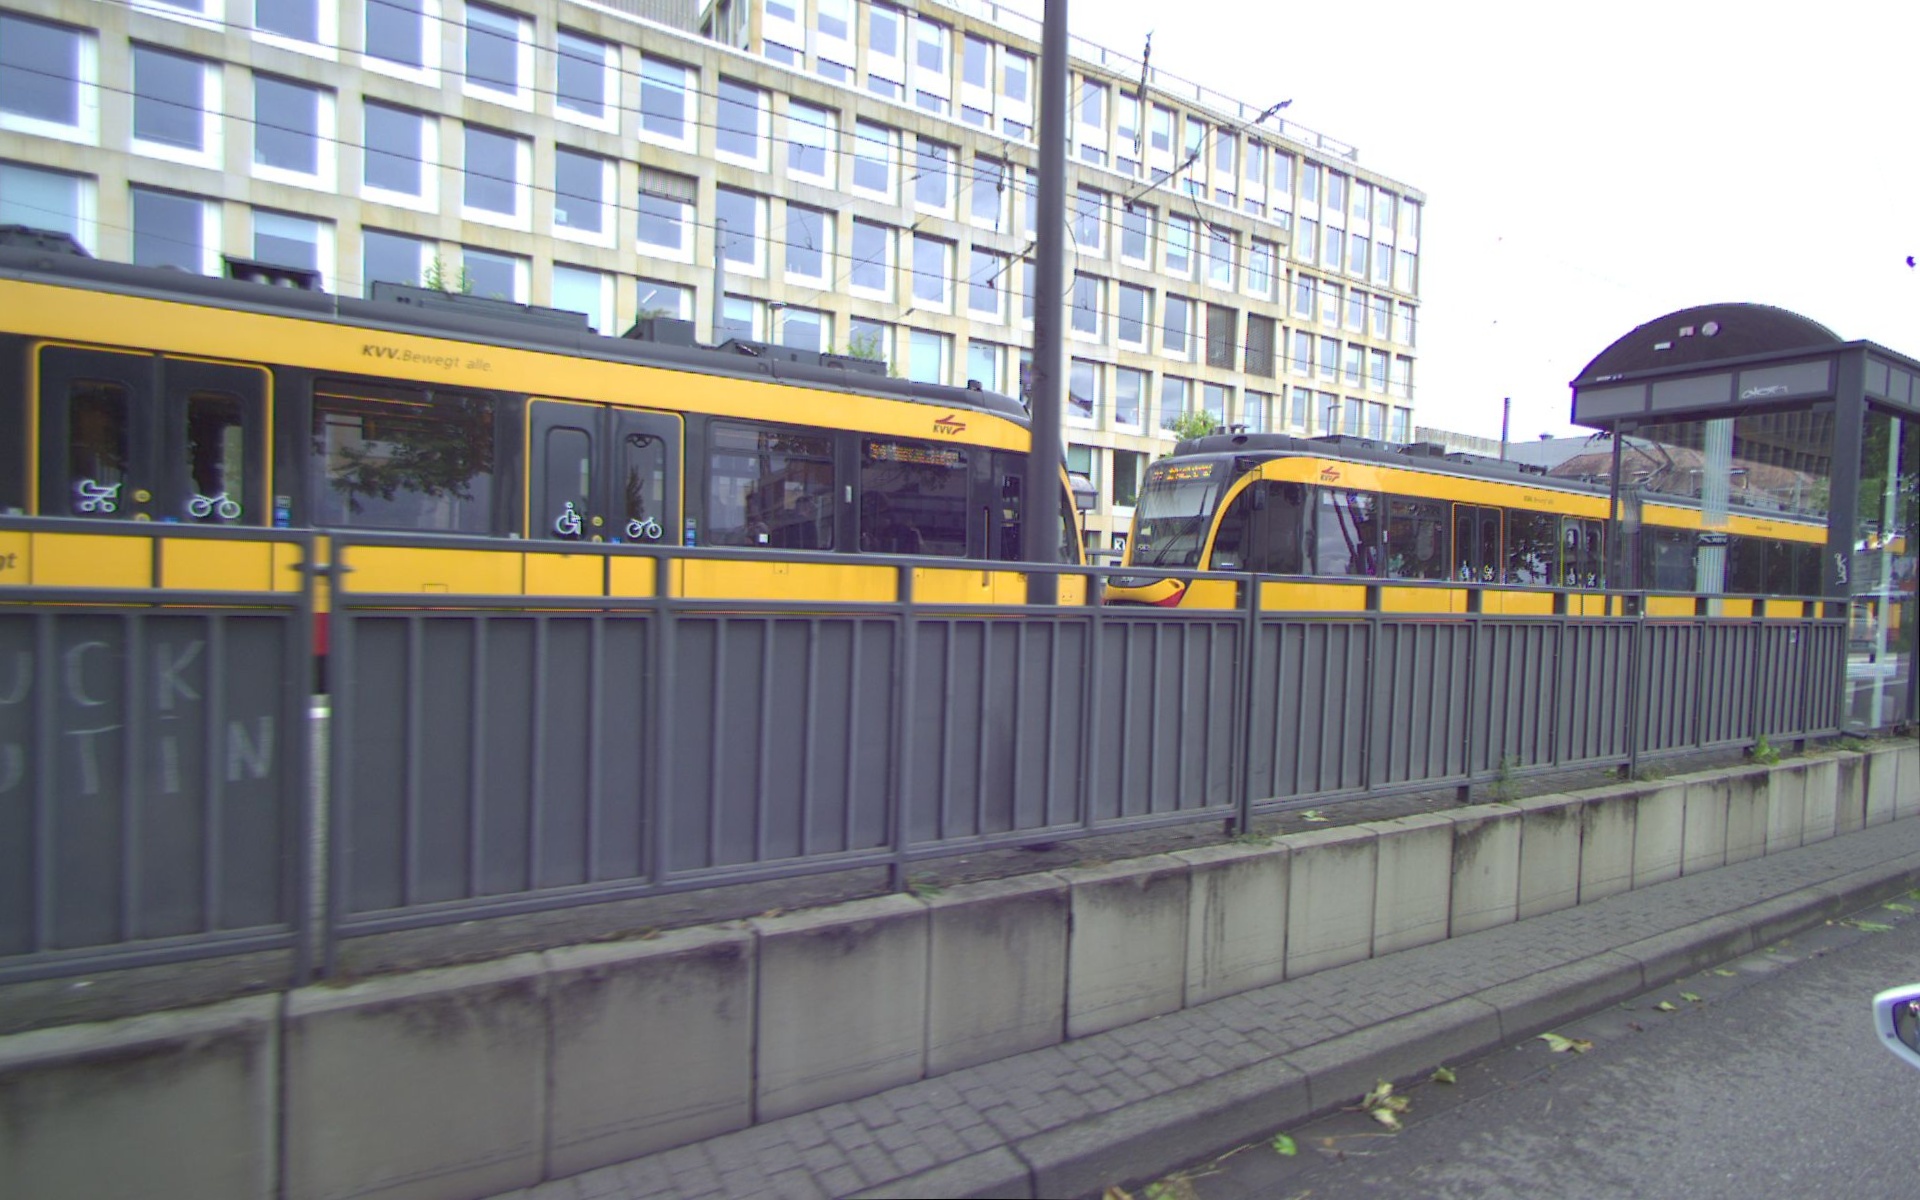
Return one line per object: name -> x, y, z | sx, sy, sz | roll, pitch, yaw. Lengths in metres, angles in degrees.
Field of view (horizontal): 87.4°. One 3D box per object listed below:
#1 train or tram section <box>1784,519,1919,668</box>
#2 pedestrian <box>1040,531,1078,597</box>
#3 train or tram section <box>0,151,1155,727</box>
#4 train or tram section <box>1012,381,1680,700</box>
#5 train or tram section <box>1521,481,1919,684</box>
train or tram section -> 32.750, -0.021, 33.691 | 14.567, 4.235, 3.163 | 2, 1, -32
pedestrian -> 2.045, -0.732, 20.751 | 0.504, 1.318, 0.580 | 2, 1, -30
train or tram section -> -4.048, -1.093, 11.132 | 13.466, 4.235, 3.163 | 2, 1, -31
train or tram section -> 7.909, -0.623, 18.504 | 14.567, 4.235, 3.163 | 2, 1, -32
train or tram section -> 20.311, -0.206, 26.103 | 14.567, 4.235, 3.163 | 2, 1, -32
